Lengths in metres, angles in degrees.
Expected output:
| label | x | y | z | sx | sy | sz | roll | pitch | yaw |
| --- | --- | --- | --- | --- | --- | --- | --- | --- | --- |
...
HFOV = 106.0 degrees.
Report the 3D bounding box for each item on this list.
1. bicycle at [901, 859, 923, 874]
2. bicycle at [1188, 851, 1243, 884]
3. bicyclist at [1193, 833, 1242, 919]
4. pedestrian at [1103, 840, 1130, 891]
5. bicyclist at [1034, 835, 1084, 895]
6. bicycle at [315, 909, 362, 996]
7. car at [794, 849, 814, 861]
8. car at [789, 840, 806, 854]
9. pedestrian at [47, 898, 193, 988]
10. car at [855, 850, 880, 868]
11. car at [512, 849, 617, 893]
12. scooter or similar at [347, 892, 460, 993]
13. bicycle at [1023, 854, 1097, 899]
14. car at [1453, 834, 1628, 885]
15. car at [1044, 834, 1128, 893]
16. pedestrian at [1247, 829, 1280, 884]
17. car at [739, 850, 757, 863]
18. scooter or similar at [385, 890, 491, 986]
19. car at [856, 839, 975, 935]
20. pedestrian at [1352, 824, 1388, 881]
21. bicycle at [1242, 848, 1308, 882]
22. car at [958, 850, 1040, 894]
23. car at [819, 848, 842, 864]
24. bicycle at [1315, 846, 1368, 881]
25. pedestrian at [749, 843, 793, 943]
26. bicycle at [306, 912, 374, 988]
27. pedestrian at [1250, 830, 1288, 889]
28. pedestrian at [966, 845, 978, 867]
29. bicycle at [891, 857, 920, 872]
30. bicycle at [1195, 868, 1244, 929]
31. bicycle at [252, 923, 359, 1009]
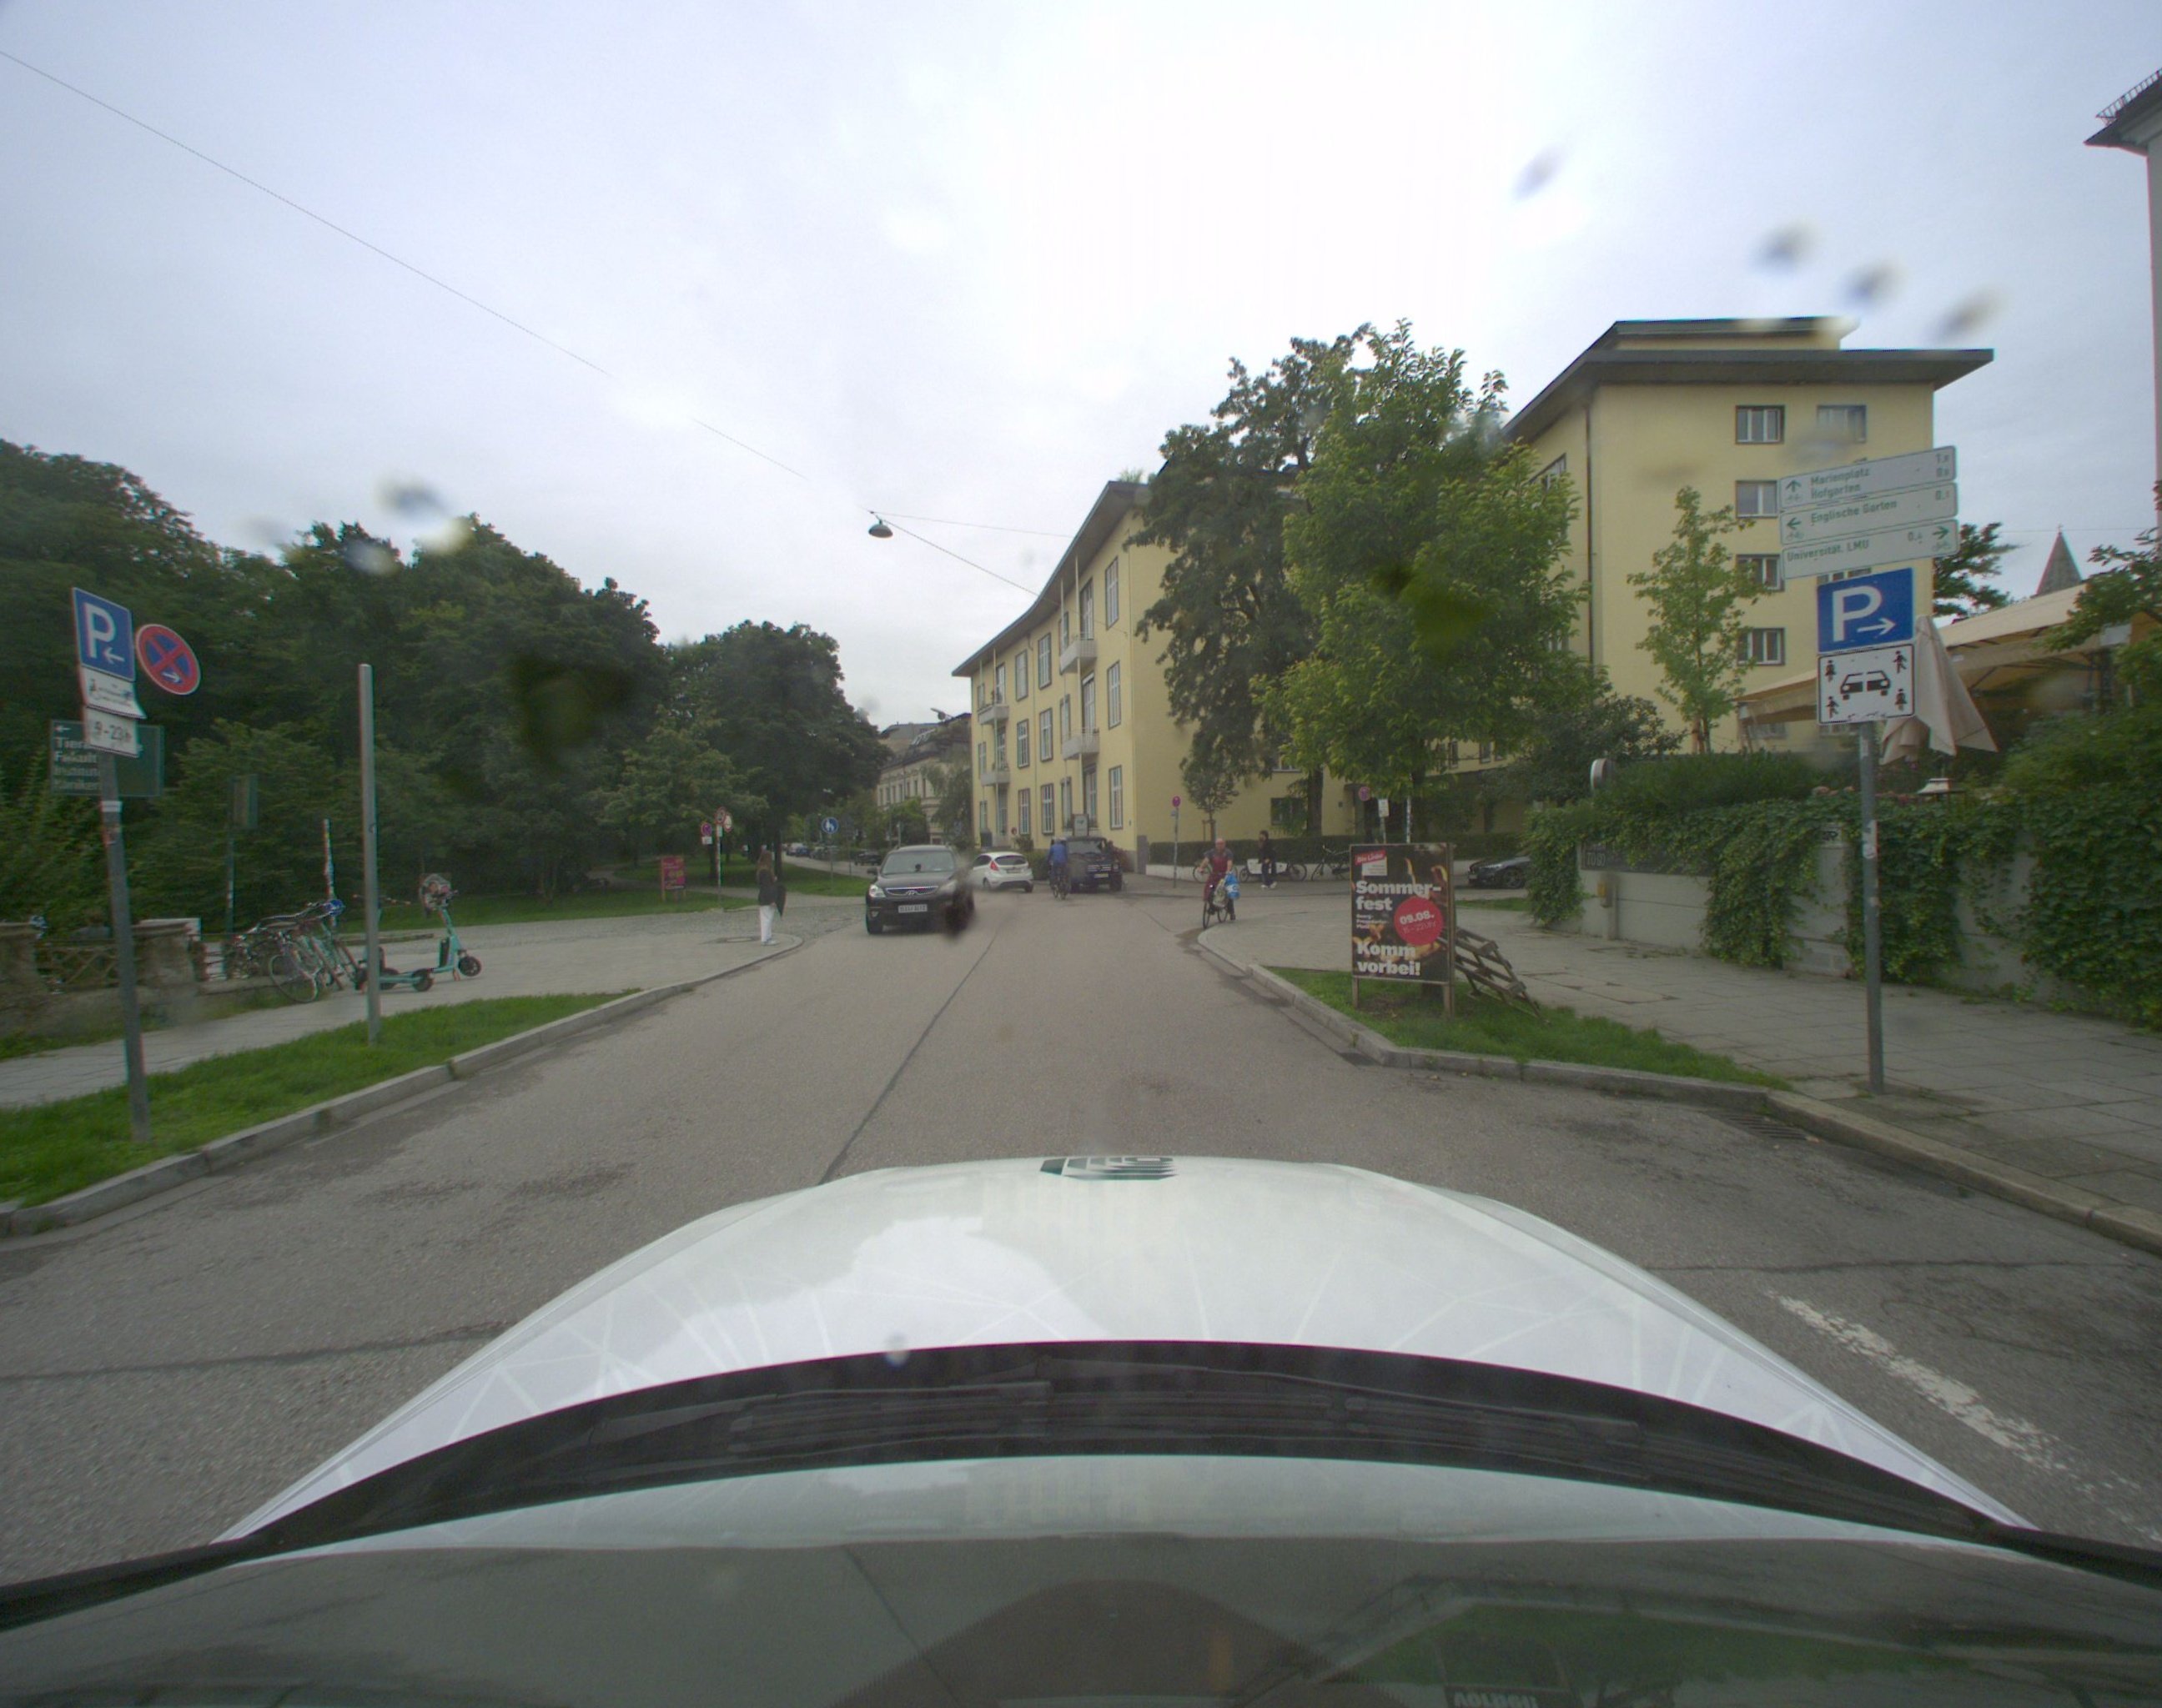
| label | x | y | z | sx | sy | sz | roll | pitch | yaw |
| --- | --- | --- | --- | --- | --- | --- | --- | --- | --- |
| bicycle | -12.359 | 0.907 | 59.628 | 1.546 | 1.014 | 0.404 | -4 | 1 | -42 |
| bicycle | 4.846 | 0.498 | 29.503 | 1.925 | 1.084 | 0.532 | -4 | -1 | 41 |
| bicyclist | 2.680 | 0.414 | 16.039 | 0.870 | 1.609 | 1.052 | -2 | 1 | 9 |
| pedestrian | 1.267 | 0.393 | 29.241 | 0.845 | 1.757 | 0.954 | -2 | 1 | 0 |
| bicyclist | -0.667 | 0.317 | 24.797 | 0.922 | 1.764 | 1.200 | -2 | 1 | -43 |
| bicycle | -10.258 | 1.336 | 11.241 | 1.176 | 1.111 | 0.303 | -3 | -1 | 40 |
| car | -38.978 | 0.082 | 114.584 | 2.004 | 1.600 | 4.217 | -2 | 1 | -26 |
| car | -42.876 | -1.011 | 123.085 | 2.075 | 1.966 | 4.940 | -2 | 1 | -23 |
| pedestrian | -15.464 | 1.396 | 13.157 | 0.847 | 1.268 | 1.263 | -2 | 1 | -7 |
| car | -19.007 | 0.413 | 72.441 | 1.654 | 1.558 | 3.531 | -2 | 1 | -24 |
| car | -25.886 | 0.818 | 40.944 | 1.765 | 2.013 | 4.026 | -2 | 1 | 30 |
| scooter or similar | -8.695 | 1.135 | 10.458 | 1.252 | 1.244 | 0.395 | -2 | -2 | 10 |
| bicycle | -0.663 | 0.666 | 24.795 | 0.929 | 1.252 | 2.293 | -3 | 1 | -44 |
| car | 13.773 | 0.181 | 24.575 | 4.306 | 1.367 | 1.662 | -2 | -2 | 0 |
| car | 0.085 | 0.295 | 29.409 | 1.877 | 1.887 | 4.595 | -2 | 1 | -15 |
| pedestrian | 5.965 | 0.068 | 26.657 | 0.824 | 1.746 | 0.740 | -2 | 1 | -3 |
| car | -45.662 | 0.331 | 111.631 | 2.004 | 1.600 | 4.430 | -2 | 1 | -25 |
| scooter or similar | -8.817 | 1.125 | 11.198 | 0.434 | 1.212 | 1.060 | -2 | -2 | 31 |
| car | -3.381 | 0.584 | 17.516 | 1.991 | 1.719 | 4.606 | -2 | 1 | -6 |
| pedestrian | 9.633 | -0.053 | 27.172 | 0.848 | 1.857 | 0.766 | -3 | 0 | -2 |
| bicycle | 6.744 | 0.392 | 28.312 | 2.152 | 1.115 | 0.643 | -2 | 1 | 15 |
| car | -3.016 | 0.600 | 29.413 | 1.757 | 1.406 | 3.695 | -2 | 1 | -26 |
| car | -27.813 | 0.224 | 90.357 | 1.803 | 1.679 | 3.965 | -2 | 1 | -27 |
| bicycle | 8.919 | 0.319 | 27.895 | 1.678 | 1.130 | 0.460 | -2 | 1 | -3 |
| pedestrian | -5.516 | 0.674 | 14.517 | 0.543 | 1.696 | 0.663 | -4 | 1 | -13 |
| bicycle | -10.639 | 1.352 | 11.678 | 1.259 | 0.977 | 0.417 | -2 | 1 | 35 |
| pedestrian | 5.964 | 0.159 | 25.862 | 0.987 | 1.809 | 0.659 | -2 | 0 | -2 |
| pedestrian | -8.294 | 0.140 | 61.898 | 0.634 | 1.684 | 0.692 | -3 | 1 | -24 |
| bicycle | -12.785 | 0.740 | 59.464 | 1.988 | 1.028 | 0.612 | -2 | 0 | -39 |
| bicycle | 2.715 | 0.836 | 16.061 | 0.871 | 1.019 | 2.196 | -2 | 1 | 9 |
| bicycle | -9.438 | 1.332 | 9.957 | 0.434 | 0.893 | 1.321 | -2 | -1 | -20 |
